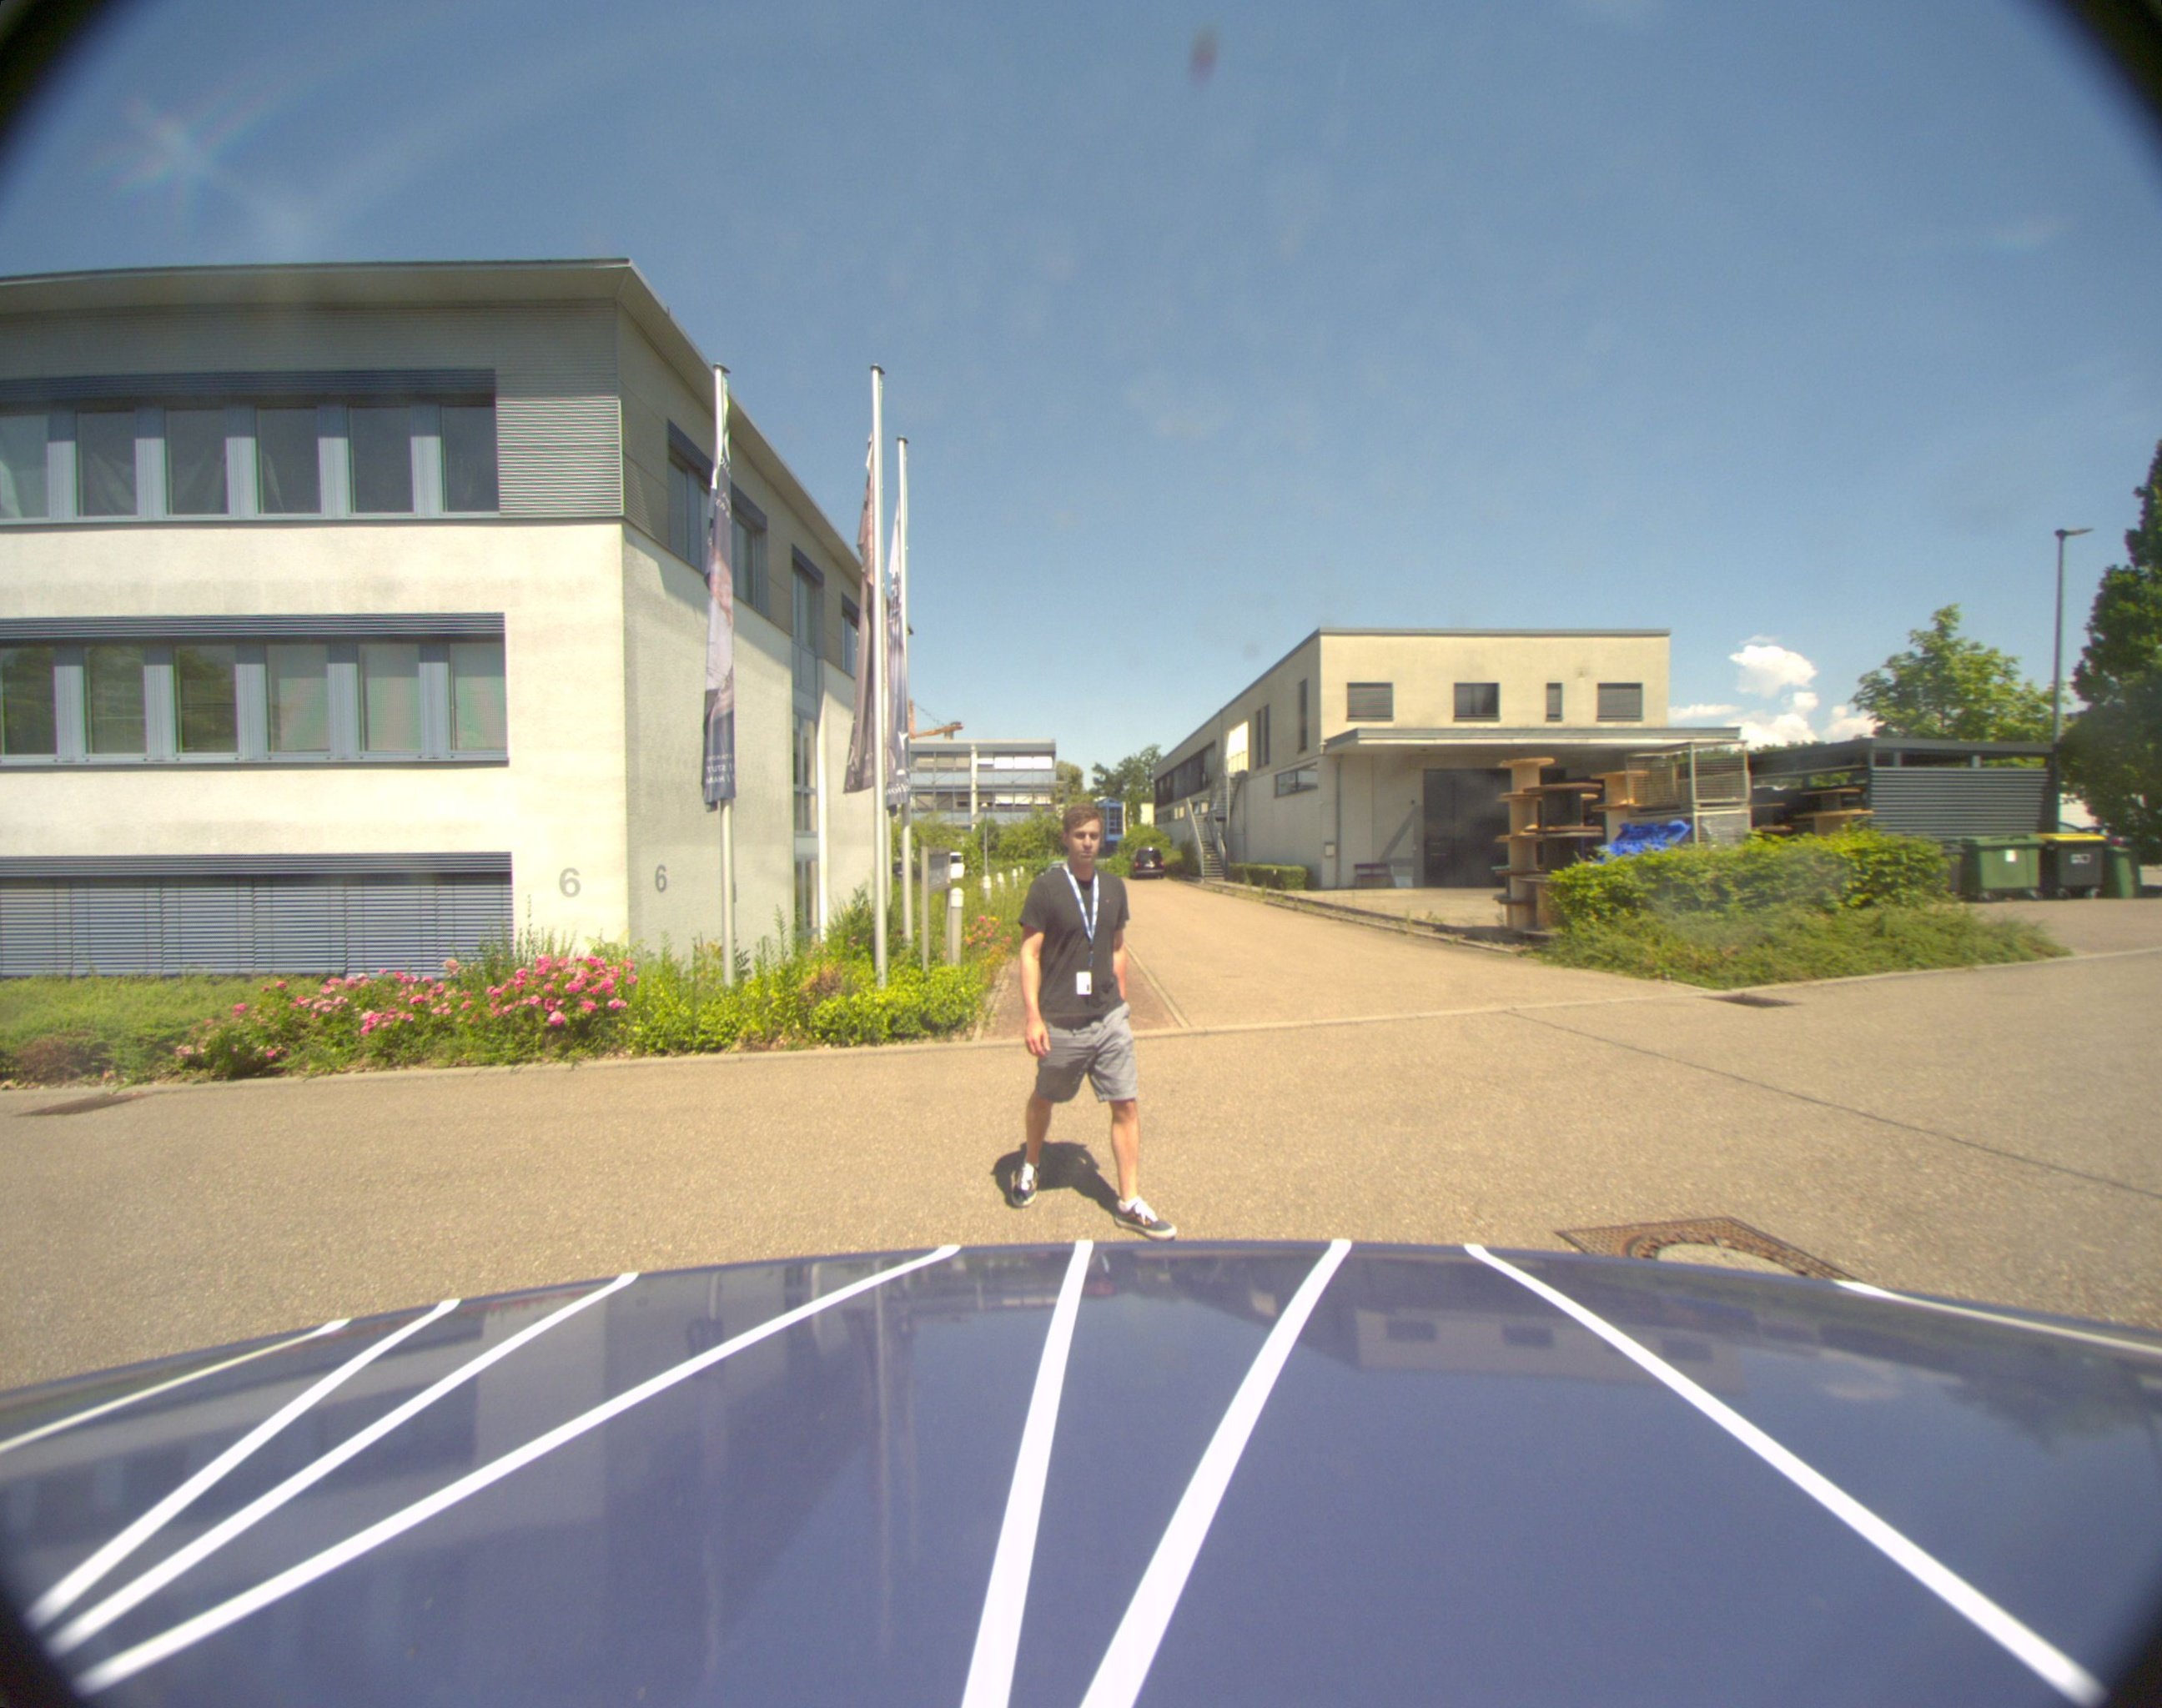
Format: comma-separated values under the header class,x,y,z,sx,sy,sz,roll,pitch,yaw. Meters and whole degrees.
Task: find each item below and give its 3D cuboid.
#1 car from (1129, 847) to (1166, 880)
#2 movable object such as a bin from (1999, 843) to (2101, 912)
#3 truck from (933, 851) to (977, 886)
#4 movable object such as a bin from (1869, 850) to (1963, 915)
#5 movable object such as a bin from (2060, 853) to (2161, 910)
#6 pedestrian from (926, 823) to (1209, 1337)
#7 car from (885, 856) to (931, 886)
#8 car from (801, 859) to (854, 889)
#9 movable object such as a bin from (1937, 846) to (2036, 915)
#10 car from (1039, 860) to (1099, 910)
class,x,y,z,sx,sy,sz,roll,pitch,yaw
car,3.913,0.498,45.045,1.787,1.793,3.999,-2,1,0
movable object such as a bin,19.656,0.466,15.428,1.072,1.329,0.760,-2,1,3
truck,-7.199,0.776,43.790,1.999,1.882,3.998,-2,1,-3
movable object such as a bin,17.064,0.570,15.547,1.072,1.264,0.760,-2,1,3
movable object such as a bin,20.762,0.545,15.346,0.987,1.078,0.760,-2,1,3
pedestrian,-0.096,0.797,3.274,0.862,1.809,0.903,-2,1,-27
car,-10.057,0.975,44.372,1.788,1.537,3.999,-2,1,-2
car,-14.728,1.116,44.278,1.788,1.537,3.999,-2,1,-2
movable object such as a bin,18.305,0.521,15.382,1.072,1.329,0.760,-2,1,3
car,-0.306,0.935,24.366,1.711,1.383,3.811,-1,1,2
